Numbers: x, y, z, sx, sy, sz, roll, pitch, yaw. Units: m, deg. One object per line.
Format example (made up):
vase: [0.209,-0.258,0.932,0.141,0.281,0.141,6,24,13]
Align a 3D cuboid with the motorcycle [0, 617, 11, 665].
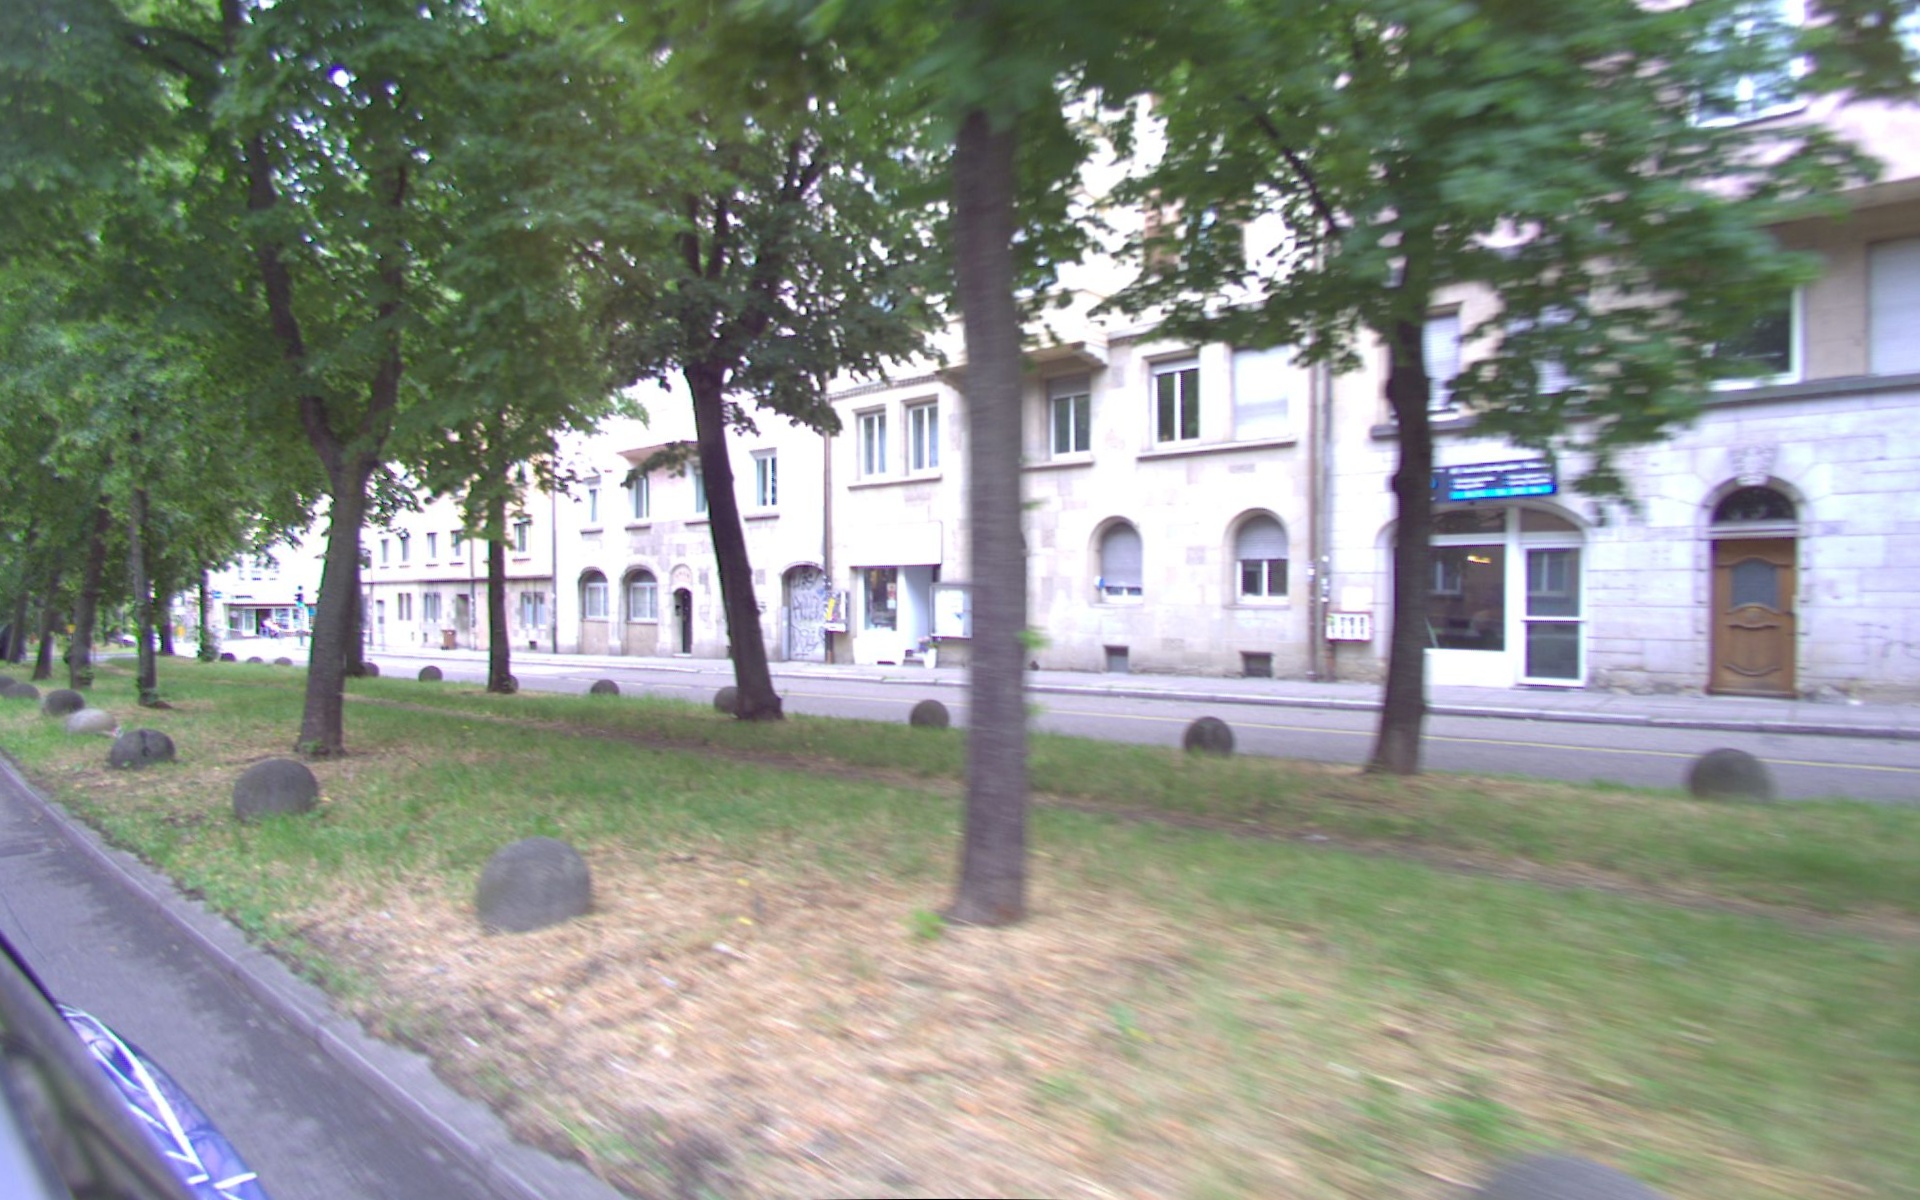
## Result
motorcycle: [-33.872,1.464,35.442,0.814,1.542,2.624,3,-7,-45]

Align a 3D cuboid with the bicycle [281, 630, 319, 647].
bicycle: [-49.443,2.869,75.874,2.309,1.108,0.777,-2,0,-27]

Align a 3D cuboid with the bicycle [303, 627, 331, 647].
bicycle: [-41.924,2.407,65.978,2.051,1.158,0.676,-4,-1,32]

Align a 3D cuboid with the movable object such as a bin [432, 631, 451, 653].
movable object such as a bin: [-22.946,1.841,44.815,0.779,0.934,0.506,-2,0,44]
